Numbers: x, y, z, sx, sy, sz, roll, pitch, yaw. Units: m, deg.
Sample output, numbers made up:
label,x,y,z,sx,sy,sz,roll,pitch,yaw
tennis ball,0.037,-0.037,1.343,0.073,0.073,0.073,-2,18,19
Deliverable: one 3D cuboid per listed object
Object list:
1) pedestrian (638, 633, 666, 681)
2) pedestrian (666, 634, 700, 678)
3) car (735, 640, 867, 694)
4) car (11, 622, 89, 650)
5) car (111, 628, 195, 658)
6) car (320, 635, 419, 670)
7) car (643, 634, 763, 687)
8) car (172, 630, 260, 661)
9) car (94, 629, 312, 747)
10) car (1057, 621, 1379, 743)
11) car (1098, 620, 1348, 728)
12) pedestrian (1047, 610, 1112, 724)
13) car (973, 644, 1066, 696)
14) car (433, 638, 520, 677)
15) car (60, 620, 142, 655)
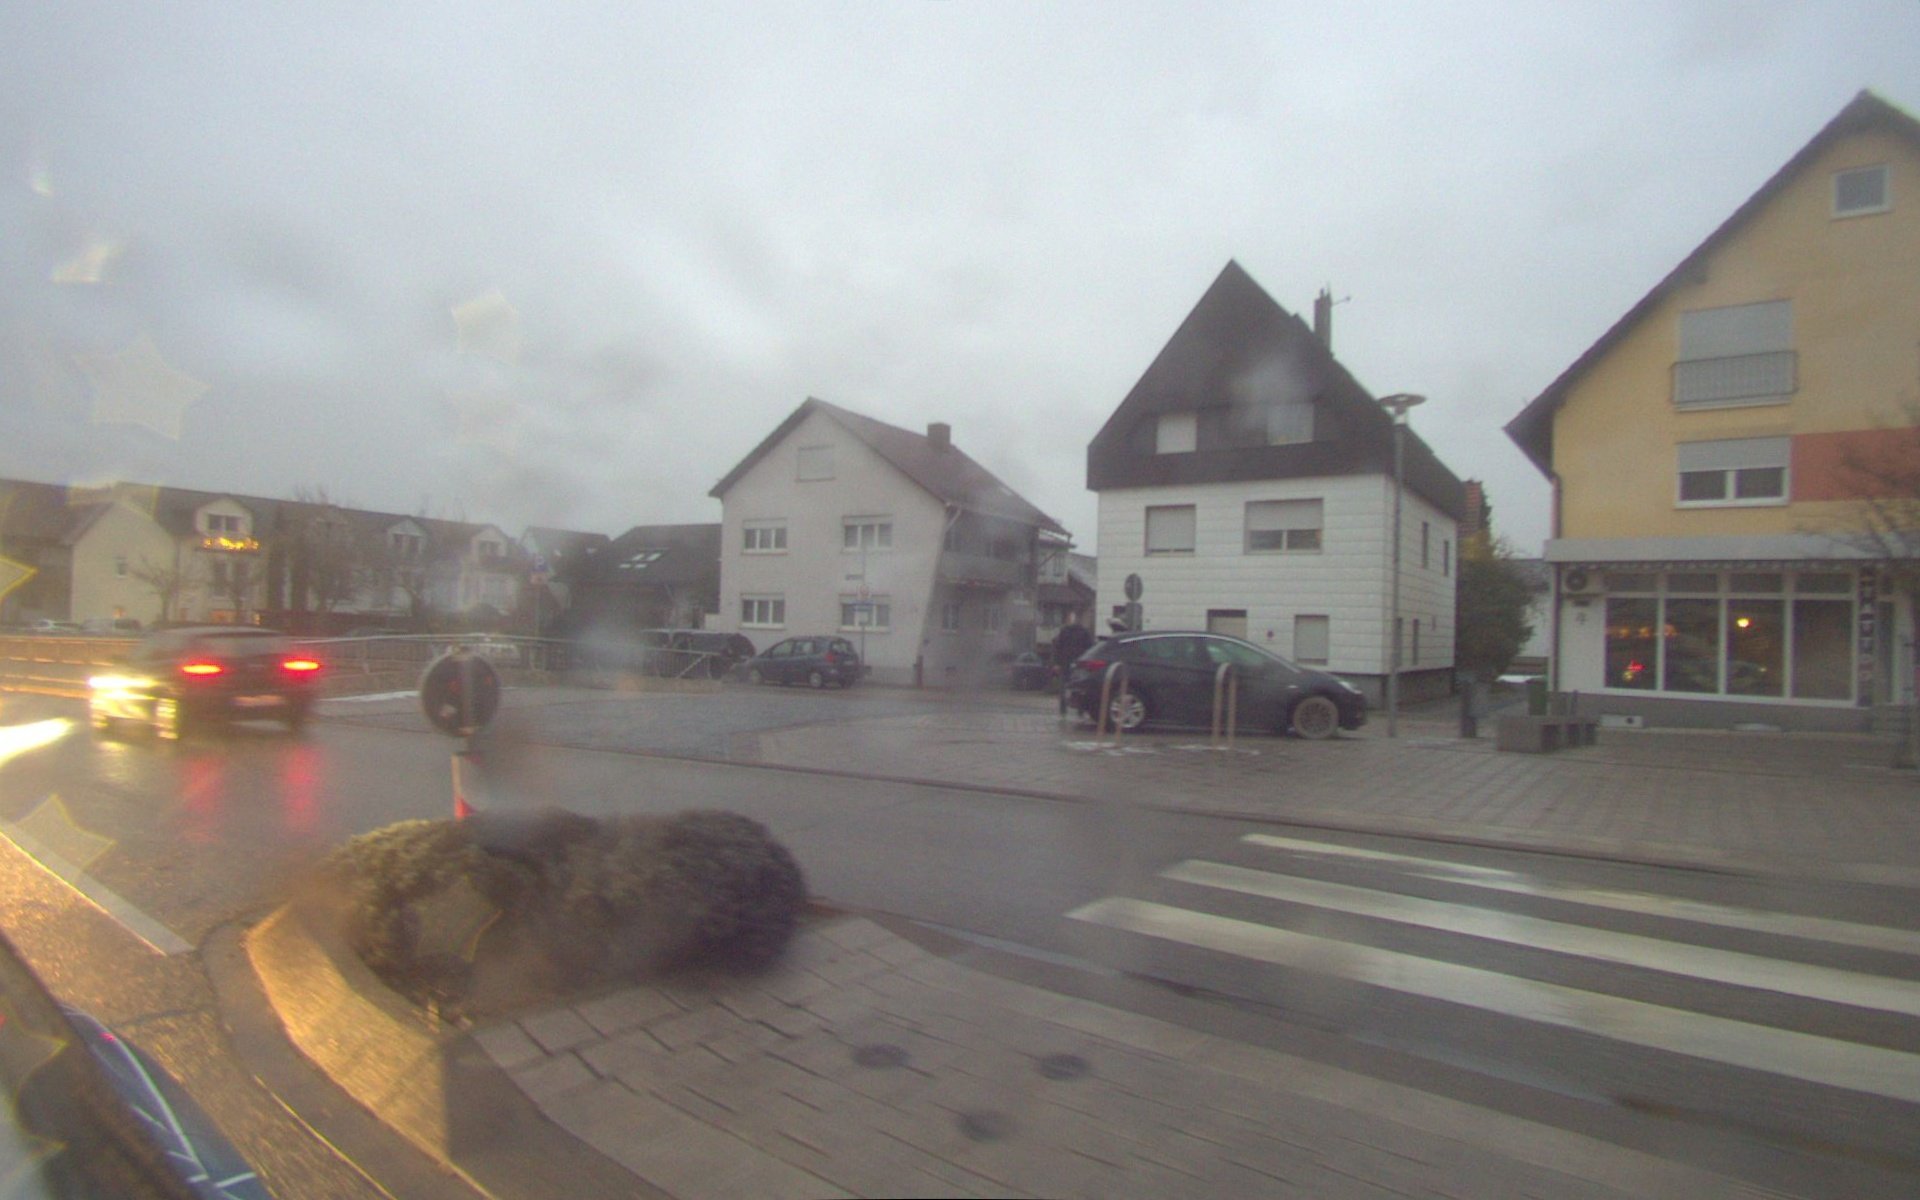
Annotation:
label,x,y,z,sx,sy,sz,roll,pitch,yaw
pedestrian,-8.596,1.579,28.274,0.594,1.312,0.511,0,-2,1
pedestrian,-8.005,1.610,29.252,0.601,1.259,0.685,-1,-3,34
car,-5.187,2.128,32.810,4.080,1.581,1.761,0,-2,32
car,-52.439,2.072,58.315,3.988,1.480,1.664,0,-5,21
car,-42.911,2.288,53.821,4.233,1.480,1.785,0,-3,25
car,-26.864,2.378,46.027,4.233,1.480,1.785,0,-3,25
car,-8.943,2.060,35.138,3.943,1.673,1.687,0,-2,29
car,-37.966,2.334,51.672,4.233,1.480,1.785,0,-3,25
car,-10.379,1.117,13.813,3.361,1.422,1.490,-1,-3,37
car,3.575,1.133,14.606,4.121,1.543,1.914,1,-2,0
car,4.399,1.267,17.437,3.846,1.683,1.838,1,-4,4
pedestrian,1.866,1.047,15.863,0.828,1.725,0.725,2,-4,-7
car,2.232,2.593,37.057,1.711,1.695,3.958,2,-4,30
car,-20.039,2.351,41.908,3.487,1.520,1.465,0,-3,28
car,-47.399,2.056,55.853,4.232,1.841,1.785,0,-3,25
